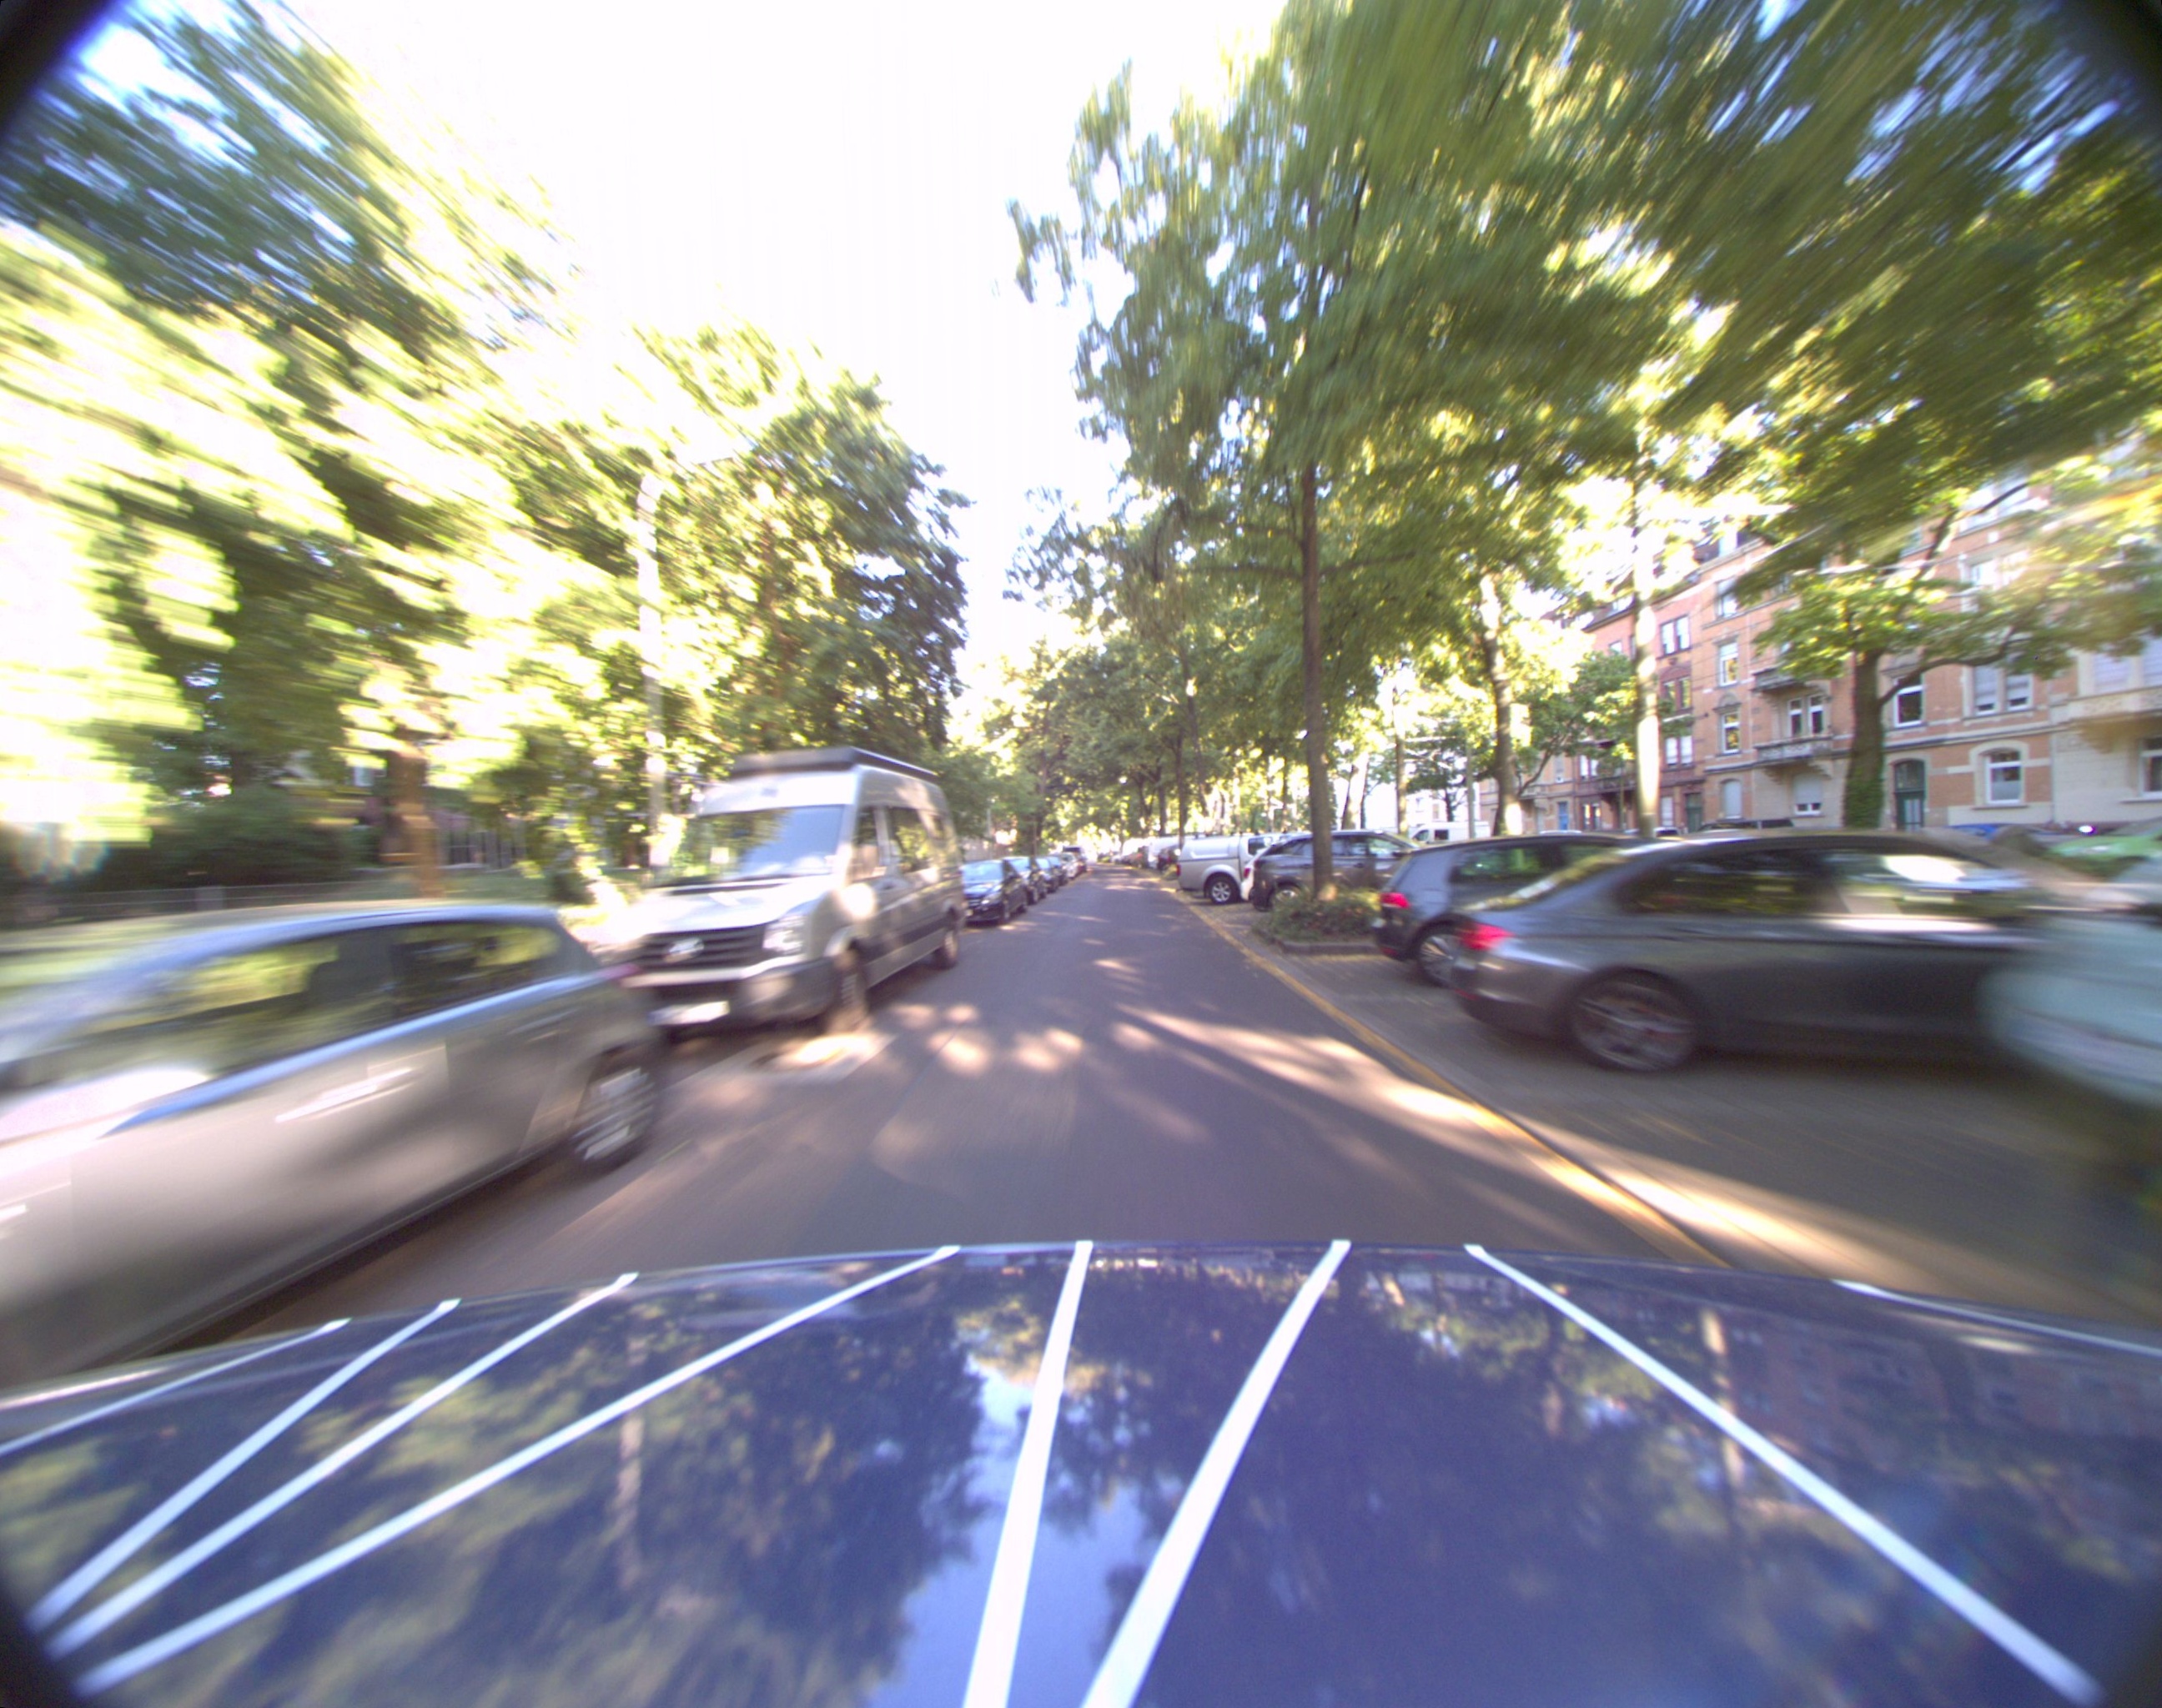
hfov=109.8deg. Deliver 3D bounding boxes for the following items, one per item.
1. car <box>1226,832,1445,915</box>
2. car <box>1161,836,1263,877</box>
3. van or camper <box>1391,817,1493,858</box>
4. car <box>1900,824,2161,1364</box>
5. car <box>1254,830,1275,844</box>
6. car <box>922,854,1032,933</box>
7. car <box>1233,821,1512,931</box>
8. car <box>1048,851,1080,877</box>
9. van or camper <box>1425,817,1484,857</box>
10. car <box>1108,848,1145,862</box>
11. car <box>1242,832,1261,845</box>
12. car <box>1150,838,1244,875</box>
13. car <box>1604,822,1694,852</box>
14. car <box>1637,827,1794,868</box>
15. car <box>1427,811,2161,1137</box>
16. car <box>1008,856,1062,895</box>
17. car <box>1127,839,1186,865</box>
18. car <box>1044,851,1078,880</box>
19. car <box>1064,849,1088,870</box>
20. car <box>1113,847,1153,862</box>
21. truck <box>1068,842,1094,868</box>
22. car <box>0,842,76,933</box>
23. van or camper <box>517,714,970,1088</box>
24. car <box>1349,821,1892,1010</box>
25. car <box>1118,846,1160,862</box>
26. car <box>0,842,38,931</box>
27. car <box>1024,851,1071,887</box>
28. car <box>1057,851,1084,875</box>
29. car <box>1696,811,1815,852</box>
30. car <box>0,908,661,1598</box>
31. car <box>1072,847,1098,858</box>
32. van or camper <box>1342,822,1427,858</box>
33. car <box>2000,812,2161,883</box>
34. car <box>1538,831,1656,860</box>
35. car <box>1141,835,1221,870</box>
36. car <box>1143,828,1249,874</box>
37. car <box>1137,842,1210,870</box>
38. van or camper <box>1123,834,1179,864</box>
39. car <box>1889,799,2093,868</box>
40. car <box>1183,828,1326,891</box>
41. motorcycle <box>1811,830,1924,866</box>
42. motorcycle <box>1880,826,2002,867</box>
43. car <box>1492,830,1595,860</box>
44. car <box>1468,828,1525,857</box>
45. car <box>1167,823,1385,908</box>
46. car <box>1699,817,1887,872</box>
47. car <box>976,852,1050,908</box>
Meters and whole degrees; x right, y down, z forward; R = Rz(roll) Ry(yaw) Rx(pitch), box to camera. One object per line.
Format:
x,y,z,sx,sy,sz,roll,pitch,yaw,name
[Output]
5.495,0.438,16.542,4.150,1.451,1.774,-5,1,30,car
6.455,0.133,37.631,4.508,1.607,1.857,-5,1,34,car
22.330,-0.999,47.014,5.537,2.357,2.311,-1,1,29,van or camper
5.012,0.578,1.706,3.875,1.485,1.834,-5,1,29,car
28.838,-2.667,119.615,1.999,2.002,3.998,-2,0,-3,car
-2.282,0.818,17.865,1.684,1.517,4.490,-2,0,3,car
5.241,0.415,13.766,4.348,1.617,1.944,-5,1,30,car
-0.971,0.573,45.638,1.684,1.445,4.076,-2,0,1,car
30.724,-1.353,62.678,2.079,3.091,5.513,0,1,0,van or camper
5.717,0.107,95.431,4.305,1.396,1.747,-5,0,23,car
28.334,-2.548,126.314,1.999,2.002,3.998,-2,1,-3,car
6.256,0.140,40.912,4.509,1.607,1.937,-5,1,26,car
30.799,-0.901,41.384,1.855,1.522,4.024,0,0,0,car
22.617,-0.238,27.262,3.991,1.310,1.596,-2,1,22,car
4.571,0.637,4.777,4.191,1.430,1.834,-5,1,27,car
-1.694,0.776,29.092,1.684,1.276,4.287,-2,0,1,car
7.041,-0.184,71.016,4.874,1.966,2.048,-4,1,30,car
-1.124,0.580,40.865,1.685,1.445,4.074,-2,0,-3,car
-0.344,0.393,56.075,1.676,1.445,3.949,-2,0,0,car
6.340,0.072,92.470,4.456,1.396,1.860,-5,0,27,car
-0.032,0.093,74.777,2.301,2.372,6.933,-2,0,-1,truck
-36.924,1.161,24.847,1.602,2.950,4.650,-1,1,42,car
-2.983,0.345,8.644,2.088,2.746,5.846,-2,1,4,van or camper
4.852,0.581,7.498,3.863,1.430,1.834,-5,1,27,car
6.582,0.014,86.240,4.234,1.432,1.859,-5,1,27,car
-31.201,0.966,19.703,1.602,2.399,4.650,-1,1,42,car
-1.473,0.641,34.582,1.684,1.415,4.659,-2,0,2,car
-0.676,0.546,50.388,1.594,1.445,3.555,-2,1,1,car
30.970,-0.985,35.069,1.855,1.772,4.024,0,0,0,car
-3.395,1.098,2.331,1.684,1.438,3.873,-4,0,6,car
0.759,-0.272,141.218,4.435,1.613,1.636,-5,2,18,car
22.259,-0.977,55.764,5.663,2.454,2.003,-1,1,26,van or camper
21.957,-0.161,15.483,3.729,1.373,1.710,-2,1,28,car
22.820,-0.368,33.772,4.193,1.161,1.502,-2,1,29,car
6.560,-0.077,50.104,4.702,1.931,1.938,-5,1,35,car
6.574,-0.143,43.751,5.501,2.125,2.084,-5,1,31,car
6.436,0.142,52.873,4.560,1.532,1.938,-5,1,35,car
6.830,-0.500,74.181,4.875,2.456,2.048,-4,1,28,van or camper
30.567,-0.618,25.747,1.999,2.002,4.000,-5,0,0,car
5.785,0.208,25.603,4.150,1.771,1.887,-5,1,39,car
21.047,-0.161,20.400,1.972,0.884,1.022,-2,1,38,motorcycle
21.164,-0.177,18.758,1.723,0.949,1.022,-2,1,22,motorcycle
22.432,-0.447,36.980,4.178,1.302,1.639,-2,1,30,car
30.660,-0.841,56.192,1.999,2.002,3.999,-2,1,0,car
5.000,0.327,19.669,4.990,1.771,1.990,-5,1,30,car
22.590,-0.281,24.342,3.990,1.569,2.003,-1,1,27,car
-2.039,0.746,23.933,1.684,1.517,4.288,-2,0,3,car
